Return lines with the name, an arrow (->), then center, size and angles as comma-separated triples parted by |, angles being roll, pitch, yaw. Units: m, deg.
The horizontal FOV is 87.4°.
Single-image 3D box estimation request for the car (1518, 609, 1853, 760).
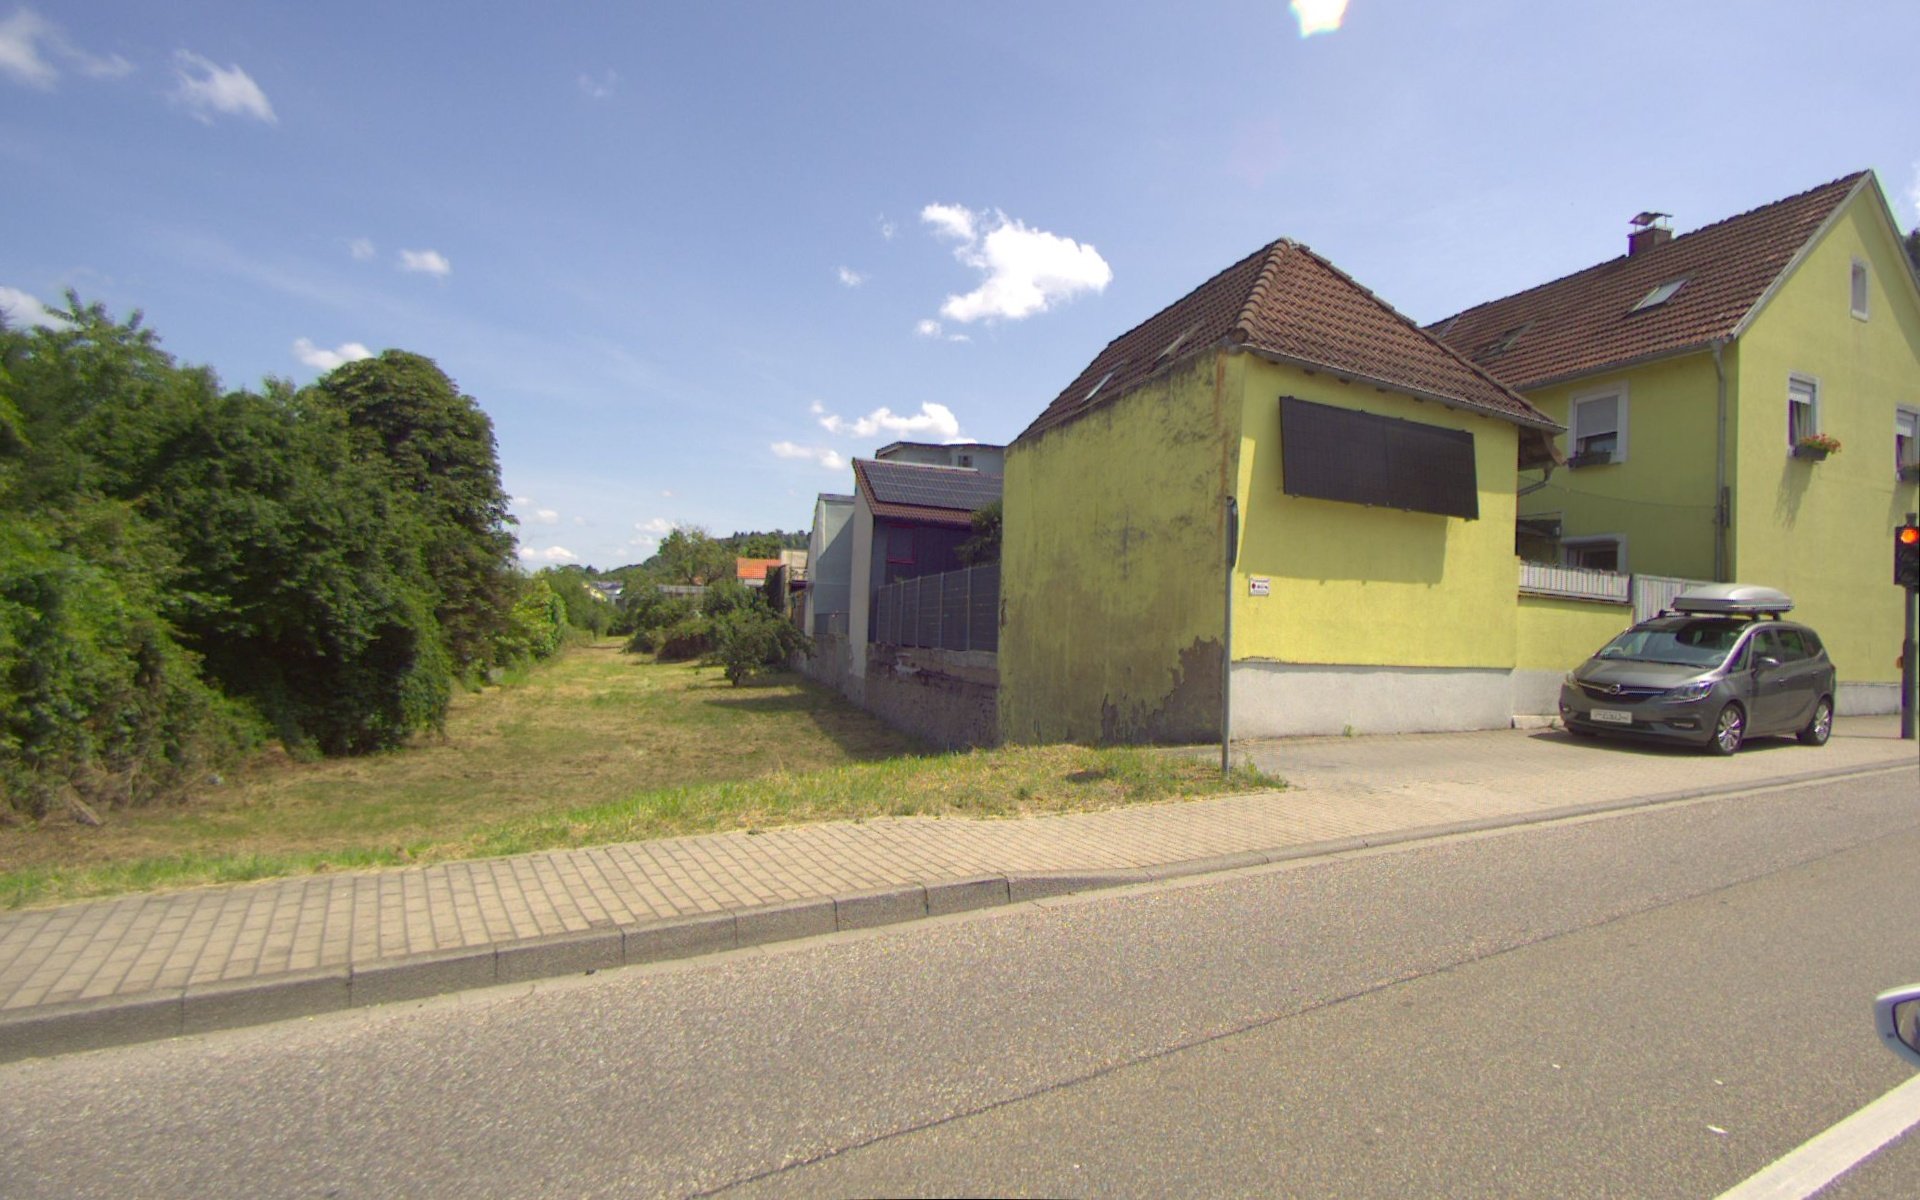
car -> 9.764, 1.042, 13.439 | 4.578, 1.657, 1.983 | 2, 0, -31
